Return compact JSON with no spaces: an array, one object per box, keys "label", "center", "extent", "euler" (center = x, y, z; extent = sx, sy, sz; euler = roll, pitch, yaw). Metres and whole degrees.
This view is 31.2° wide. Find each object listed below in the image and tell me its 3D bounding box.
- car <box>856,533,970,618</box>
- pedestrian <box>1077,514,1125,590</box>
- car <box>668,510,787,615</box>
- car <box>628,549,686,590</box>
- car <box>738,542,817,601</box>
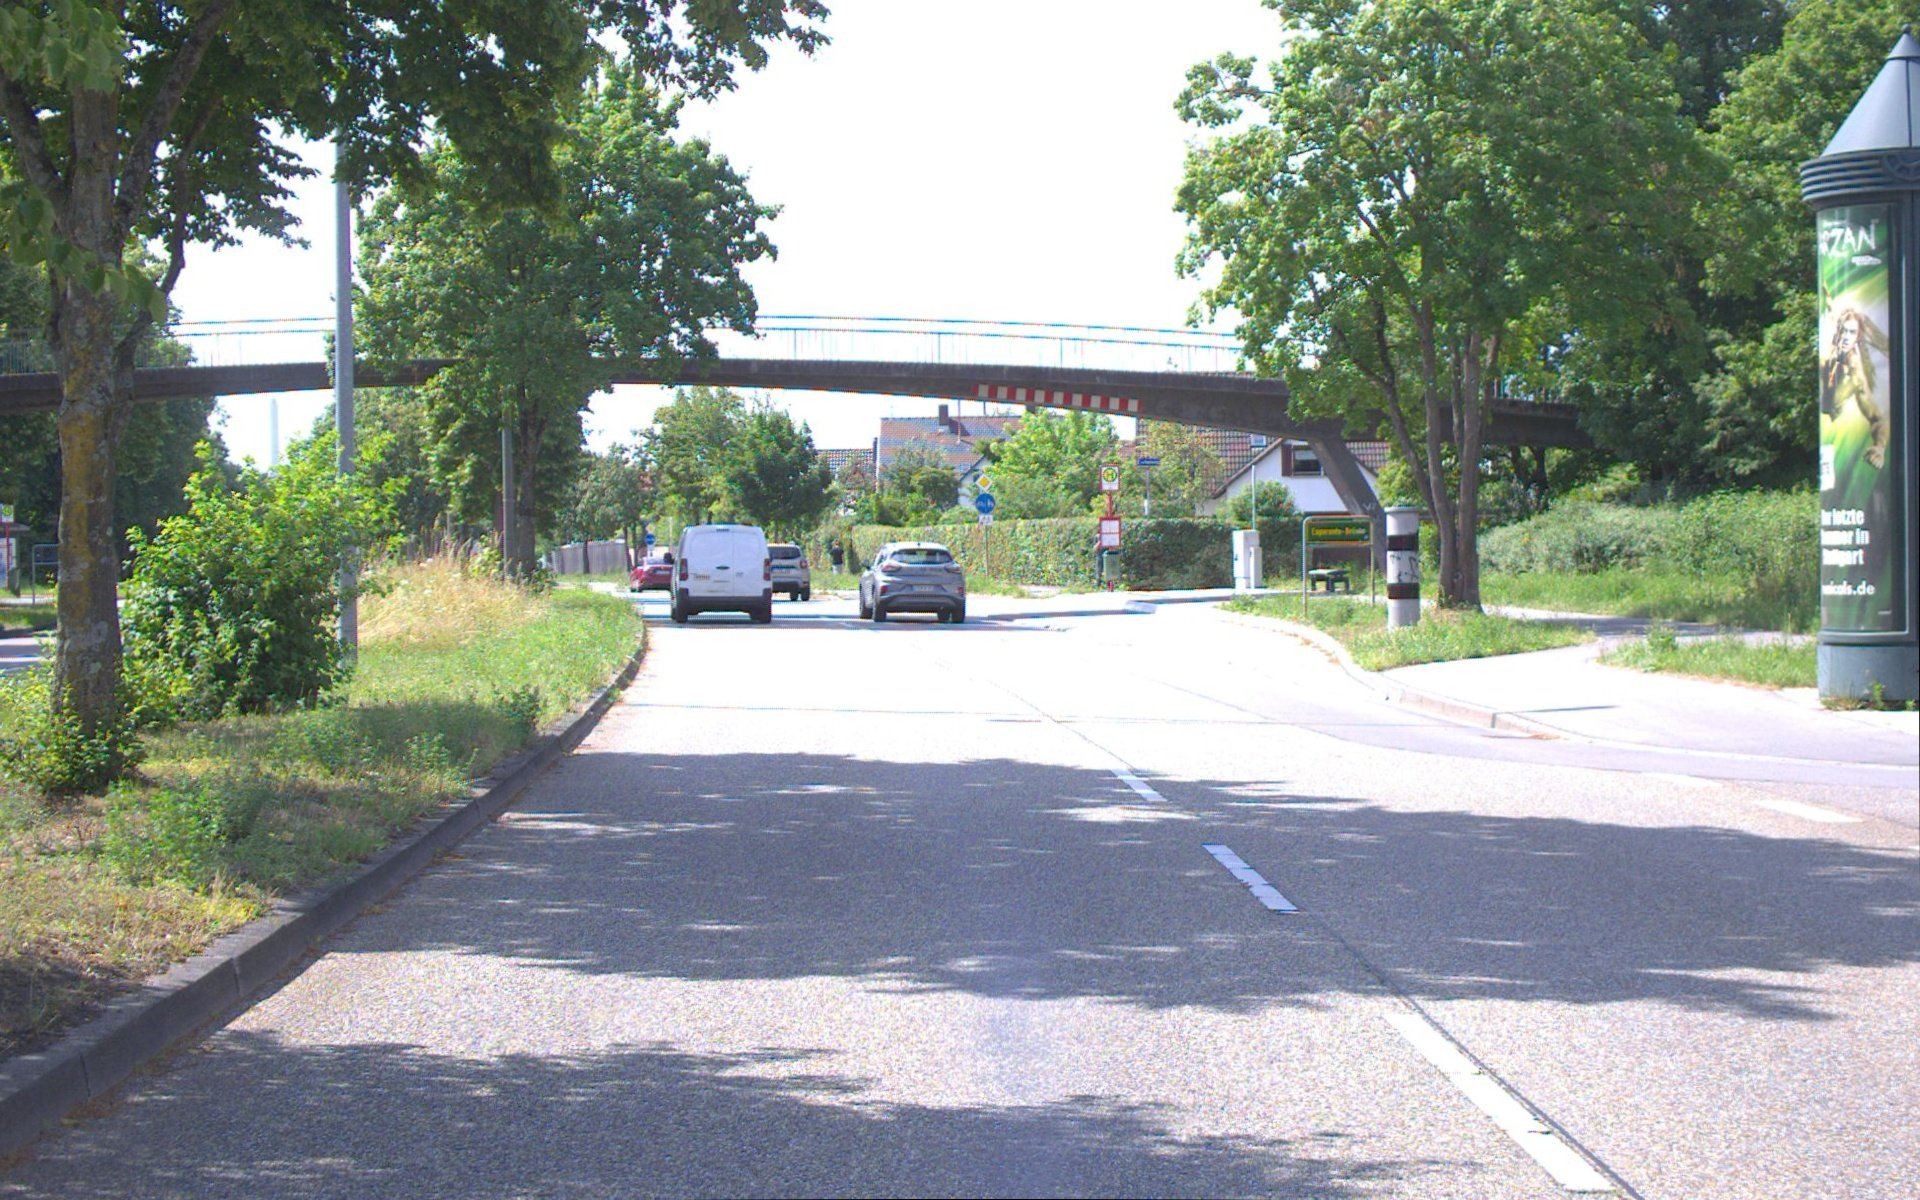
[{"label":"car","center":[-0.958,-0.480,67.058],"extent":[1.875,1.583,4.185],"euler":[-1,0,-5]},{"label":"pedestrian","center":[3.499,-1.182,85.395],"extent":[0.954,1.818,1.088],"euler":[-2,-1,-8]},{"label":"car","center":[-4.442,-0.714,65.104],"extent":[2.065,1.905,4.647],"euler":[0,1,-6]},{"label":"car","center":[-11.933,-1.200,135.053],"extent":[1.880,1.582,4.001],"euler":[0,1,-11]},{"label":"car","center":[-5.254,-0.823,98.366],"extent":[1.875,1.646,4.001],"euler":[-1,0,-8]}]
